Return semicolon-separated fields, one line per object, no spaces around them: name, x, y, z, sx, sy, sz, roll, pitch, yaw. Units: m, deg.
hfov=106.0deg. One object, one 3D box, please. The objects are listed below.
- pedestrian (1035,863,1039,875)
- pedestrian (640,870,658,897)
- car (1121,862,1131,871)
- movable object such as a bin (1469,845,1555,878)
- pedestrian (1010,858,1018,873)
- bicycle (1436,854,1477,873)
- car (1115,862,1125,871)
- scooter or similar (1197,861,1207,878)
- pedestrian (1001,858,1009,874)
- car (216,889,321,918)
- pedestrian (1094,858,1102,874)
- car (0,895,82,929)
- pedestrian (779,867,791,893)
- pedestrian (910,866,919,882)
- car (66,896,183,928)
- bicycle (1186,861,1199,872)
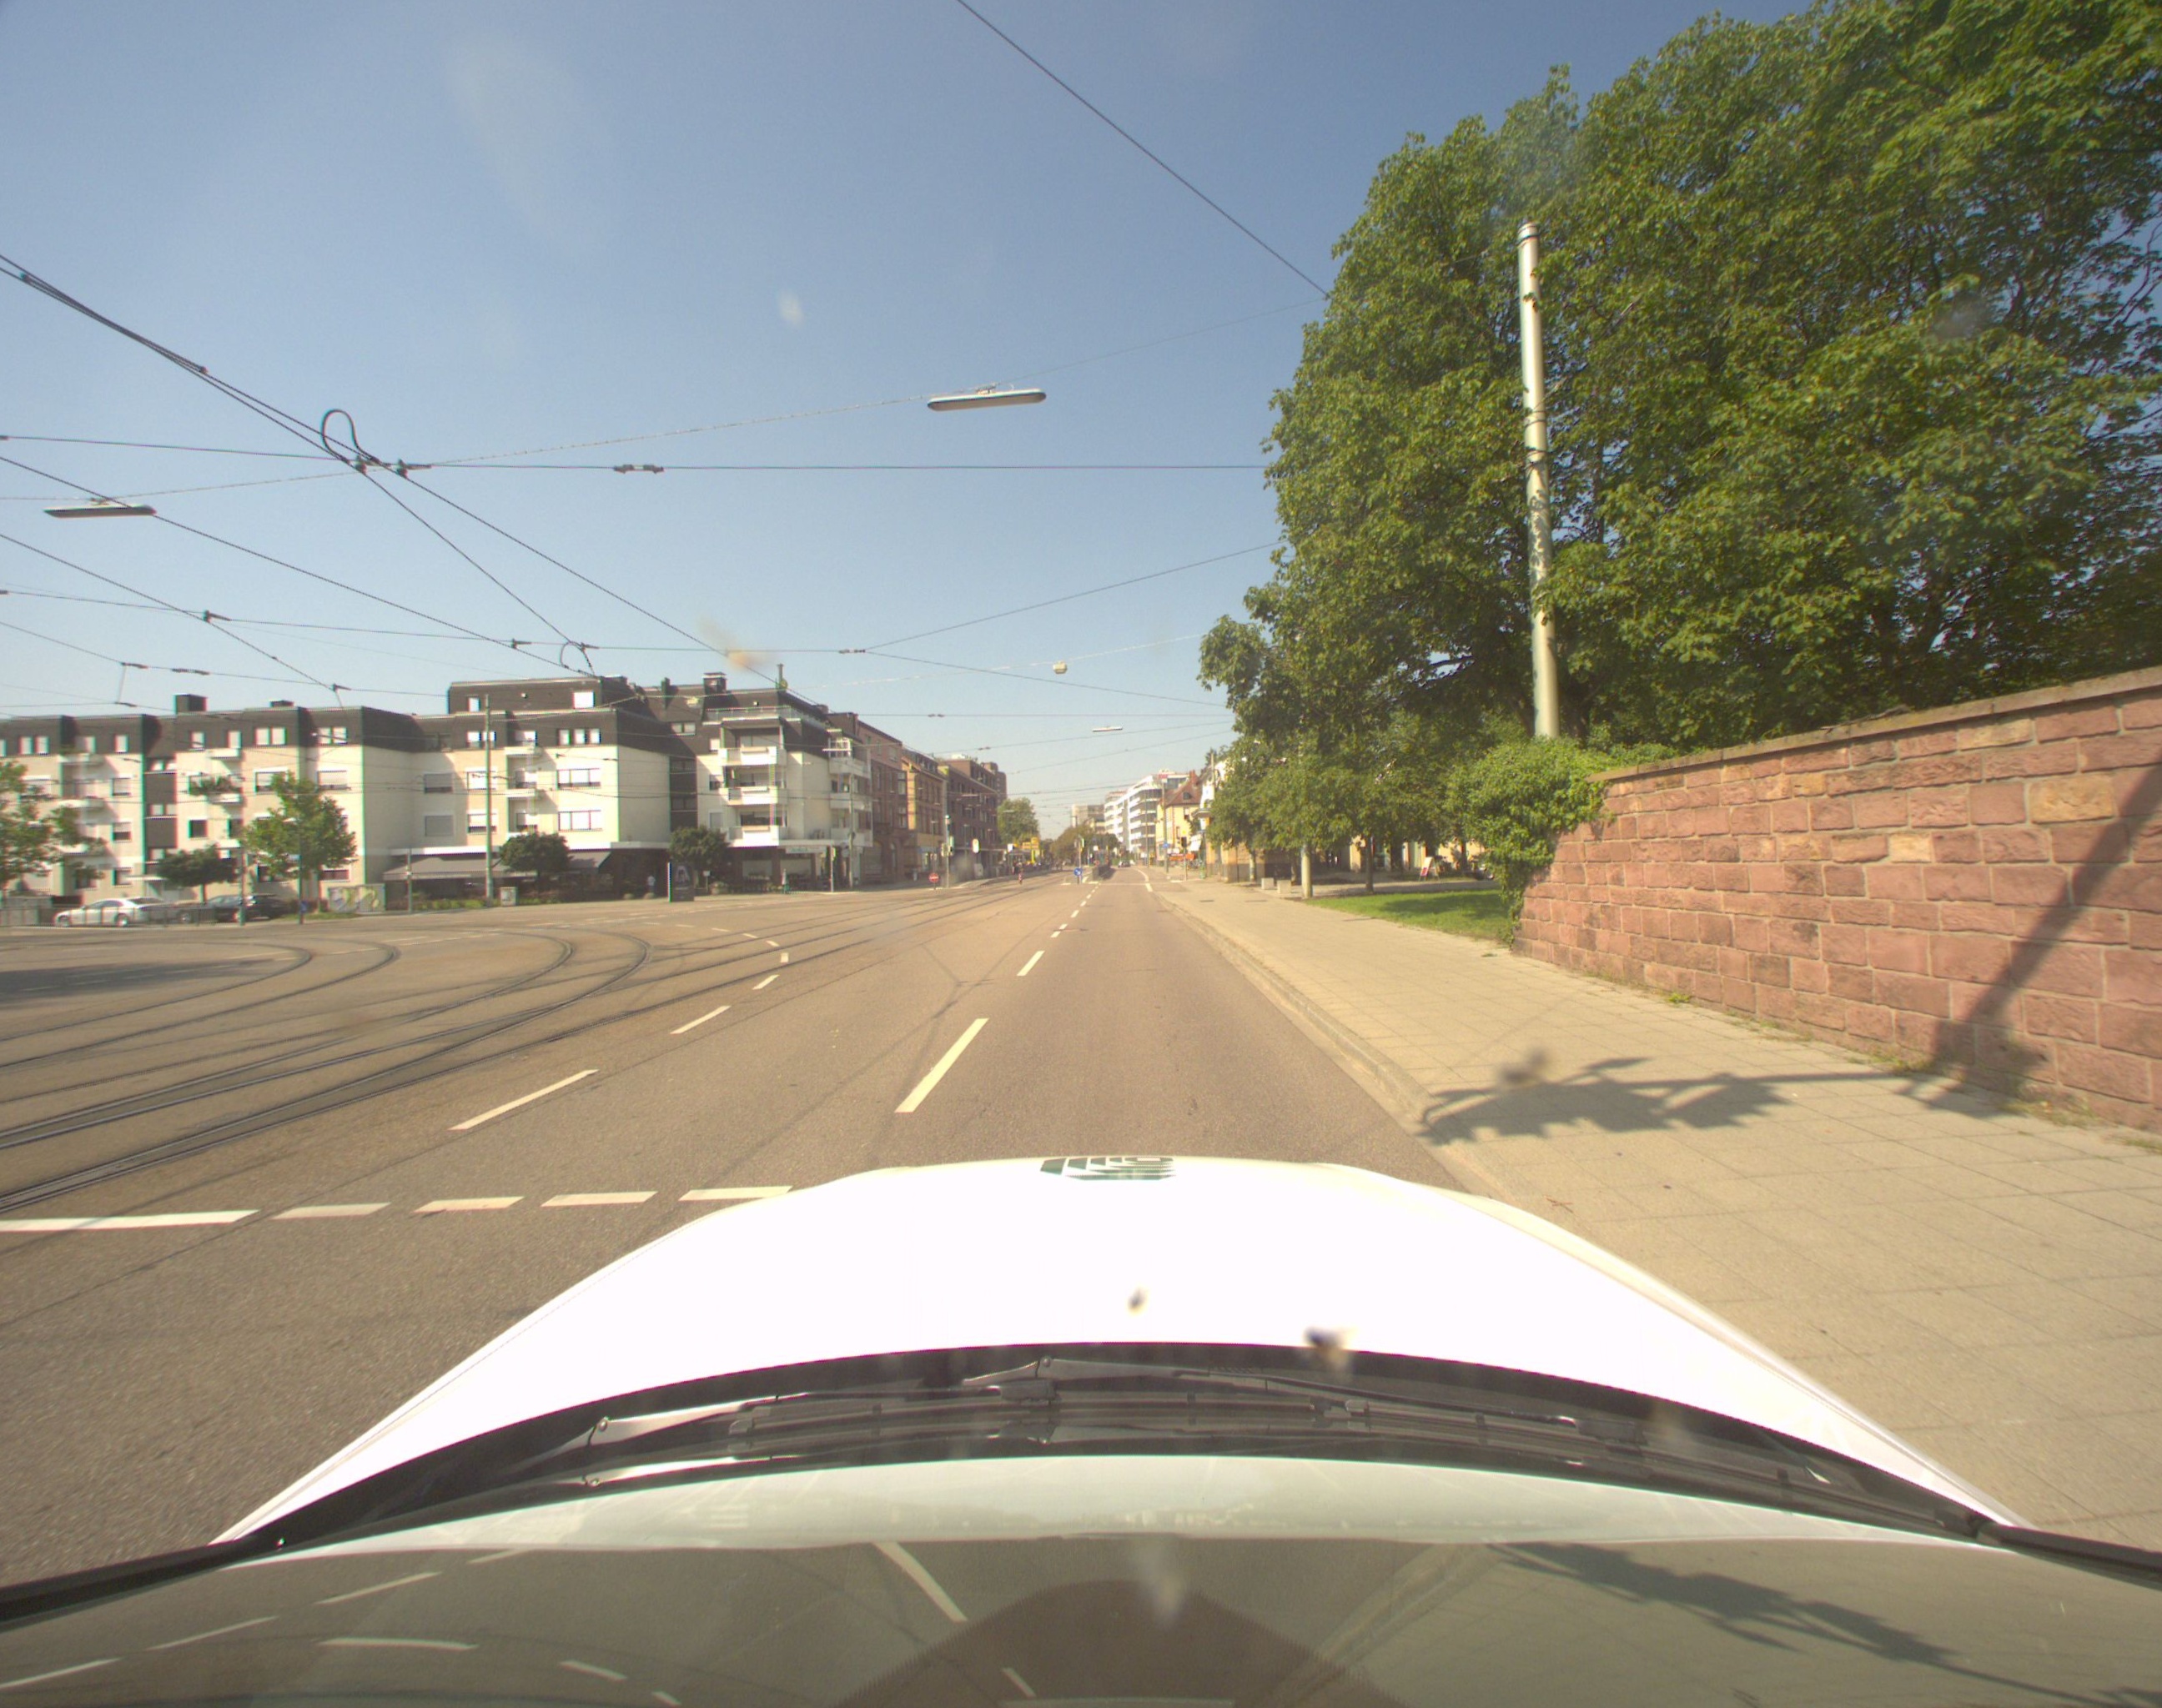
pedestrian;-6.031;2.055;111.636;0.531;1.530;0.701;-3;-1;-3
pedestrian;-28.680;1.963;54.083;0.676;1.741;0.699;-4;-1;4
car;9.812;2.645;178.407;2.002;1.859;4.005;-4;-1;4
movable object such as a bin;19.113;0.341;36.226;3.090;1.298;1.303;-2;-1;5
pedestrian;-7.798;1.327;94.571;0.705;1.747;0.800;-4;-1;3
bicycle;19.775;0.496;42.888;1.896;0.980;0.427;-1;-1;2
car;8.903;2.771;184.725;2.002;1.859;4.005;-4;-1;4
scooter or similar;8.472;1.061;56.928;0.521;1.133;1.513;-4;-1;4
pedestrian;-8.198;1.310;87.676;0.705;1.723;0.800;-4;-1;3
car;-46.386;2.826;46.543;4.093;1.507;1.931;-1;-1;2
pedestrian;1.800;1.291;88.534;0.717;1.703;0.885;-4;-1;4
car;-55.170;3.059;42.274;4.354;1.534;1.870;-4;-1;1
pedestrian;-20.152;1.764;55.417;0.602;1.745;0.560;-3;-1;-31
pedestrian;-16.431;1.960;80.454;0.479;1.560;0.890;-1;-2;14
car;-49.249;2.990;41.958;4.093;1.299;1.674;-4;-1;2
bicycle;12.110;1.366;88.454;0.730;1.132;2.835;-5;-1;-4
